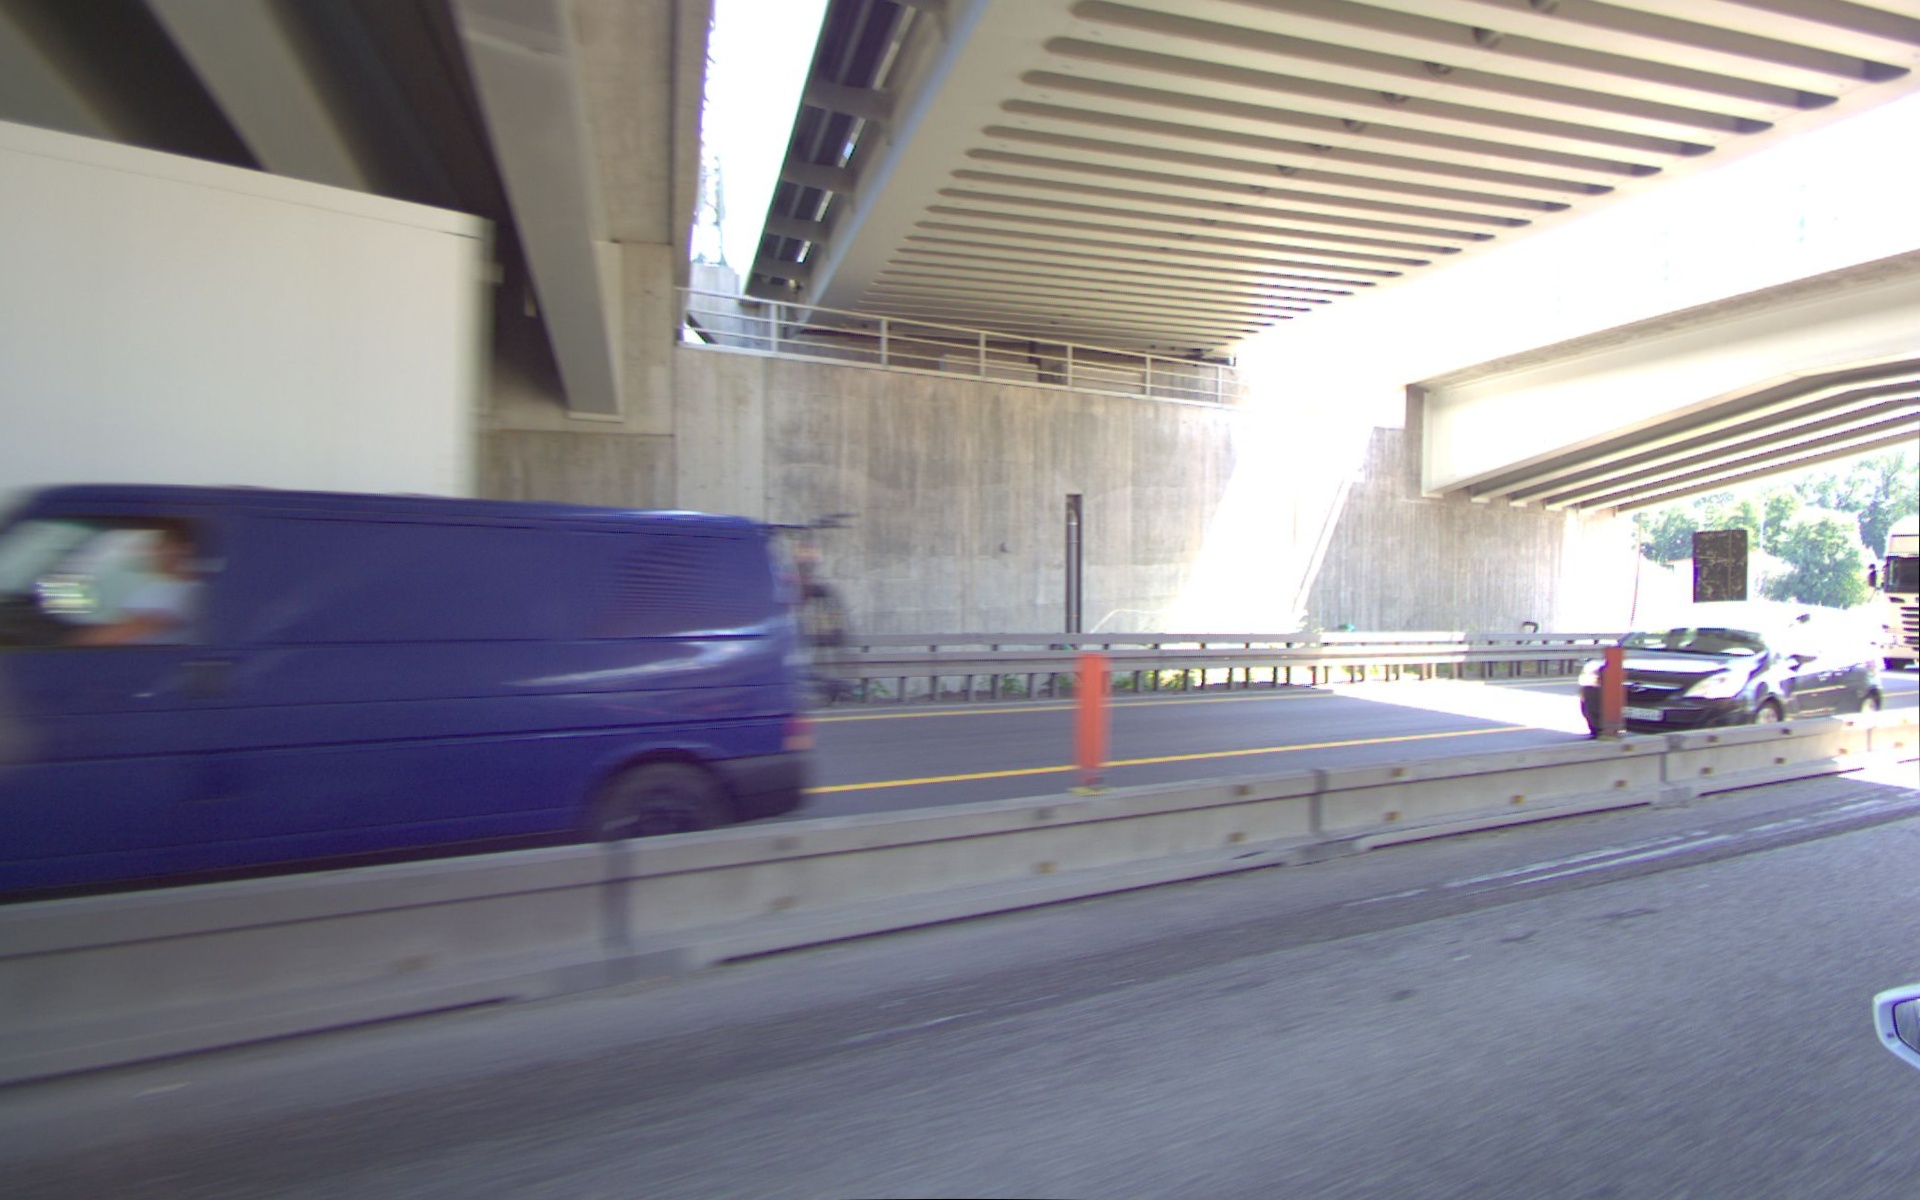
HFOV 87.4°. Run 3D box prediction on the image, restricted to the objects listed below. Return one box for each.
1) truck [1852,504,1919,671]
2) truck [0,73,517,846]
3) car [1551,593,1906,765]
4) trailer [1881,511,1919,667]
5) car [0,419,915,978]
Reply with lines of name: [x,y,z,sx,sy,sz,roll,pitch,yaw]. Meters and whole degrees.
truck: [25.590,-0.281,25.813,4.837,4.106,2.854,0,2,-36]
truck: [-9.563,-0.966,4.731,13.341,4.370,2.754,3,0,-32]
car: [8.772,0.796,11.410,4.092,1.631,1.740,1,0,-30]
trailer: [31.420,-0.213,30.064,14.219,4.094,2.856,0,2,-36]
car: [-2.803,0.361,4.931,4.913,1.958,1.790,1,0,-32]
